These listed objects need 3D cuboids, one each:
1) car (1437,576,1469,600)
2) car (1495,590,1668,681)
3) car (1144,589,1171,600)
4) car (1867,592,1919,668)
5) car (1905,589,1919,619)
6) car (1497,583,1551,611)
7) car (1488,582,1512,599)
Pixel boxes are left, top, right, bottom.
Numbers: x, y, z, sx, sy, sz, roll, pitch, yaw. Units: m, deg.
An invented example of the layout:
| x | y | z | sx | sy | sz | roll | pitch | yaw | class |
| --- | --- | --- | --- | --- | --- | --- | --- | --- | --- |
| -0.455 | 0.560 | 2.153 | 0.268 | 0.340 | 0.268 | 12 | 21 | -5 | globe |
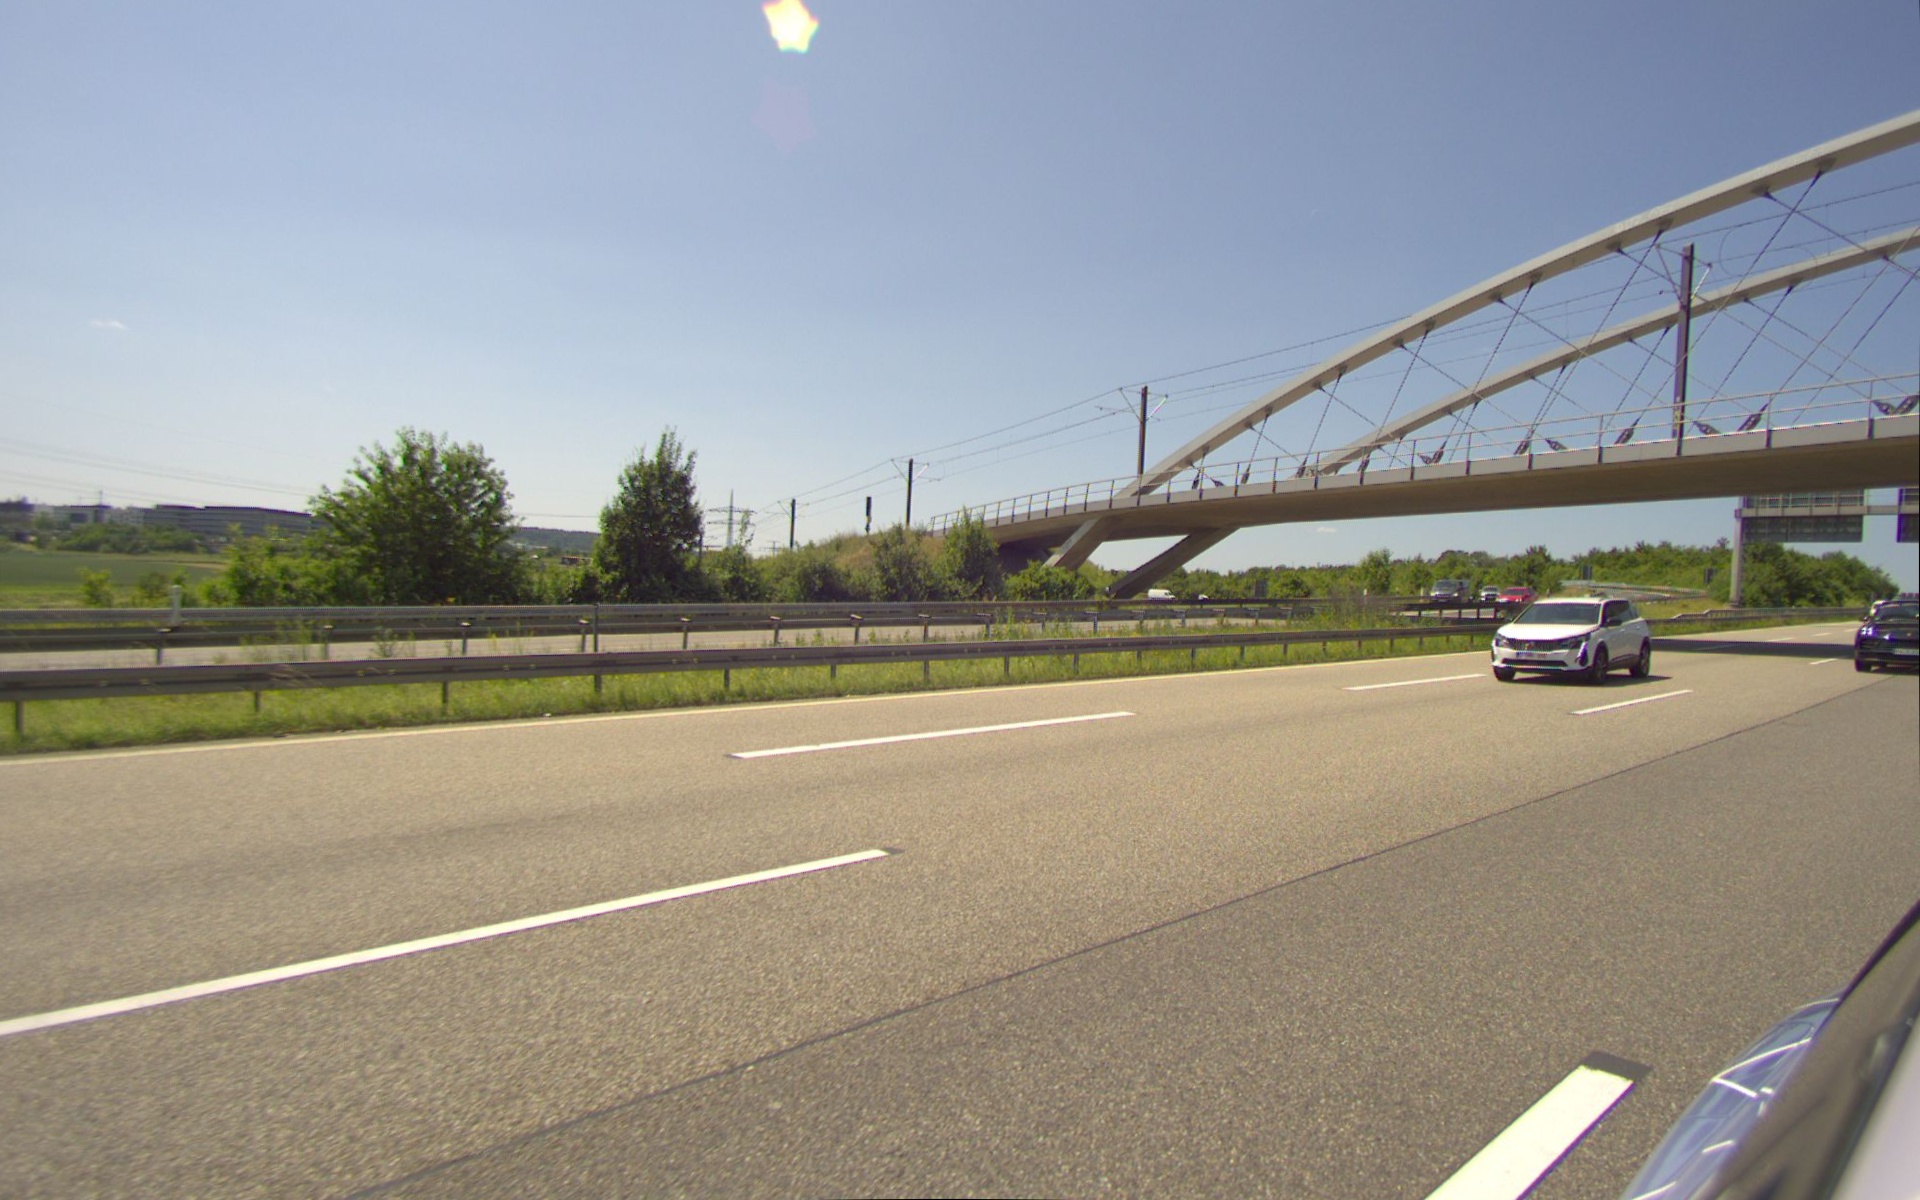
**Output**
| x | y | z | sx | sy | sz | roll | pitch | yaw | class |
| --- | --- | --- | --- | --- | --- | --- | --- | --- | --- |
| 34.759 | -0.823 | 71.284 | 1.691 | 1.595 | 4.083 | 0 | 0 | 31 | car |
| 12.409 | 0.618 | 20.080 | 4.541 | 1.611 | 1.746 | 0 | 0 | -42 | car |
| 45.938 | -1.283 | 235.535 | 5.786 | 2.492 | 2.055 | 0 | 0 | 40 | car |
| 21.844 | 0.629 | 22.714 | 4.063 | 1.615 | 1.928 | 0 | 0 | -44 | car |
| 63.870 | 0.250 | 67.044 | 1.803 | 1.943 | 4.228 | 0 | 0 | 43 | car |
| 33.313 | -0.184 | 59.738 | 1.926 | 1.615 | 4.068 | 0 | 0 | 43 | car |
| 52.358 | -0.936 | 98.239 | 1.686 | 1.595 | 4.095 | 0 | 0 | 23 | car |
